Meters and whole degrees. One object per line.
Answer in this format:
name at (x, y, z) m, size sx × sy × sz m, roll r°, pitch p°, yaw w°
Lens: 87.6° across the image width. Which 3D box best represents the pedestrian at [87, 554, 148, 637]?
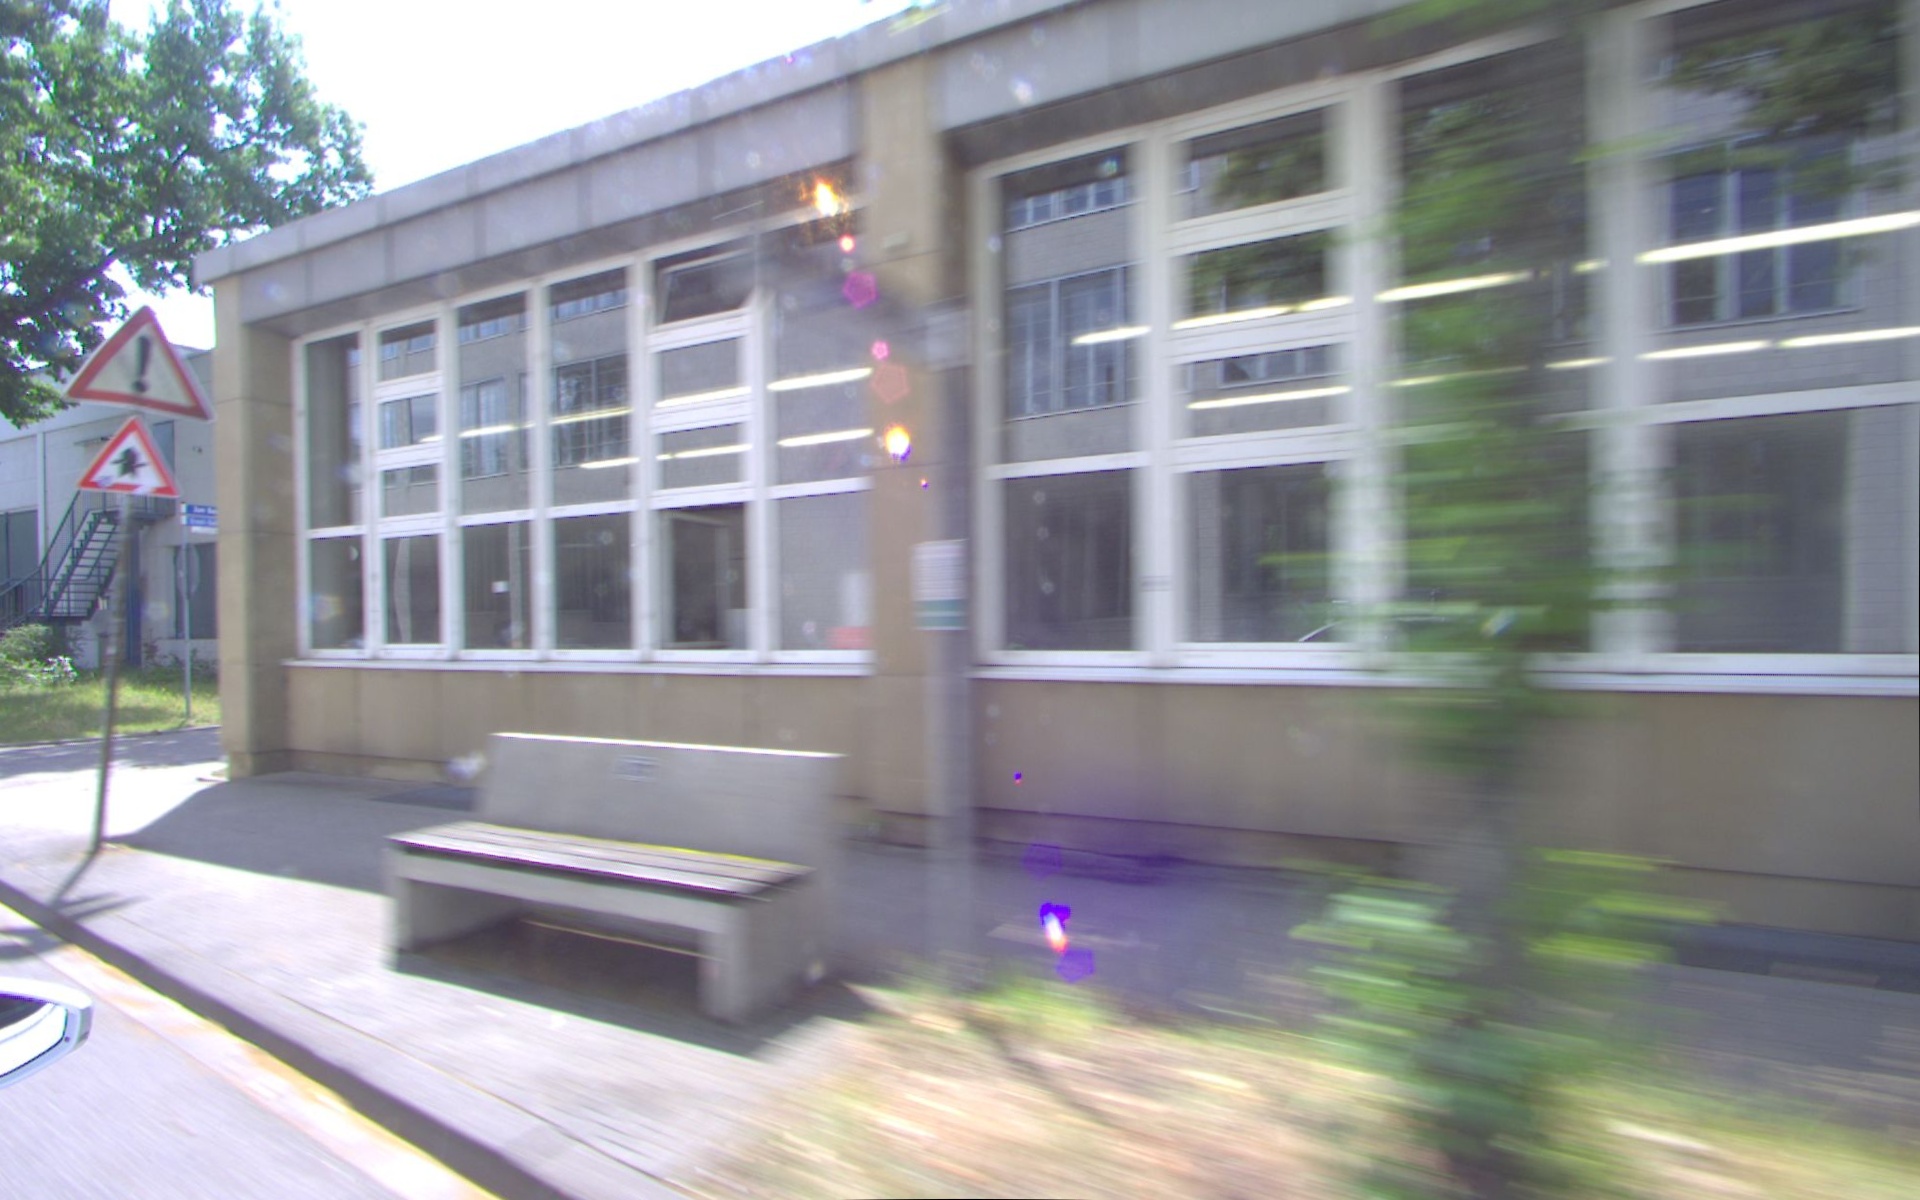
pedestrian at (-21.267, -0.103, 25.288) m, size 0.936 × 2.040 × 0.925 m, roll -1°, pitch 0°, yaw 31°
